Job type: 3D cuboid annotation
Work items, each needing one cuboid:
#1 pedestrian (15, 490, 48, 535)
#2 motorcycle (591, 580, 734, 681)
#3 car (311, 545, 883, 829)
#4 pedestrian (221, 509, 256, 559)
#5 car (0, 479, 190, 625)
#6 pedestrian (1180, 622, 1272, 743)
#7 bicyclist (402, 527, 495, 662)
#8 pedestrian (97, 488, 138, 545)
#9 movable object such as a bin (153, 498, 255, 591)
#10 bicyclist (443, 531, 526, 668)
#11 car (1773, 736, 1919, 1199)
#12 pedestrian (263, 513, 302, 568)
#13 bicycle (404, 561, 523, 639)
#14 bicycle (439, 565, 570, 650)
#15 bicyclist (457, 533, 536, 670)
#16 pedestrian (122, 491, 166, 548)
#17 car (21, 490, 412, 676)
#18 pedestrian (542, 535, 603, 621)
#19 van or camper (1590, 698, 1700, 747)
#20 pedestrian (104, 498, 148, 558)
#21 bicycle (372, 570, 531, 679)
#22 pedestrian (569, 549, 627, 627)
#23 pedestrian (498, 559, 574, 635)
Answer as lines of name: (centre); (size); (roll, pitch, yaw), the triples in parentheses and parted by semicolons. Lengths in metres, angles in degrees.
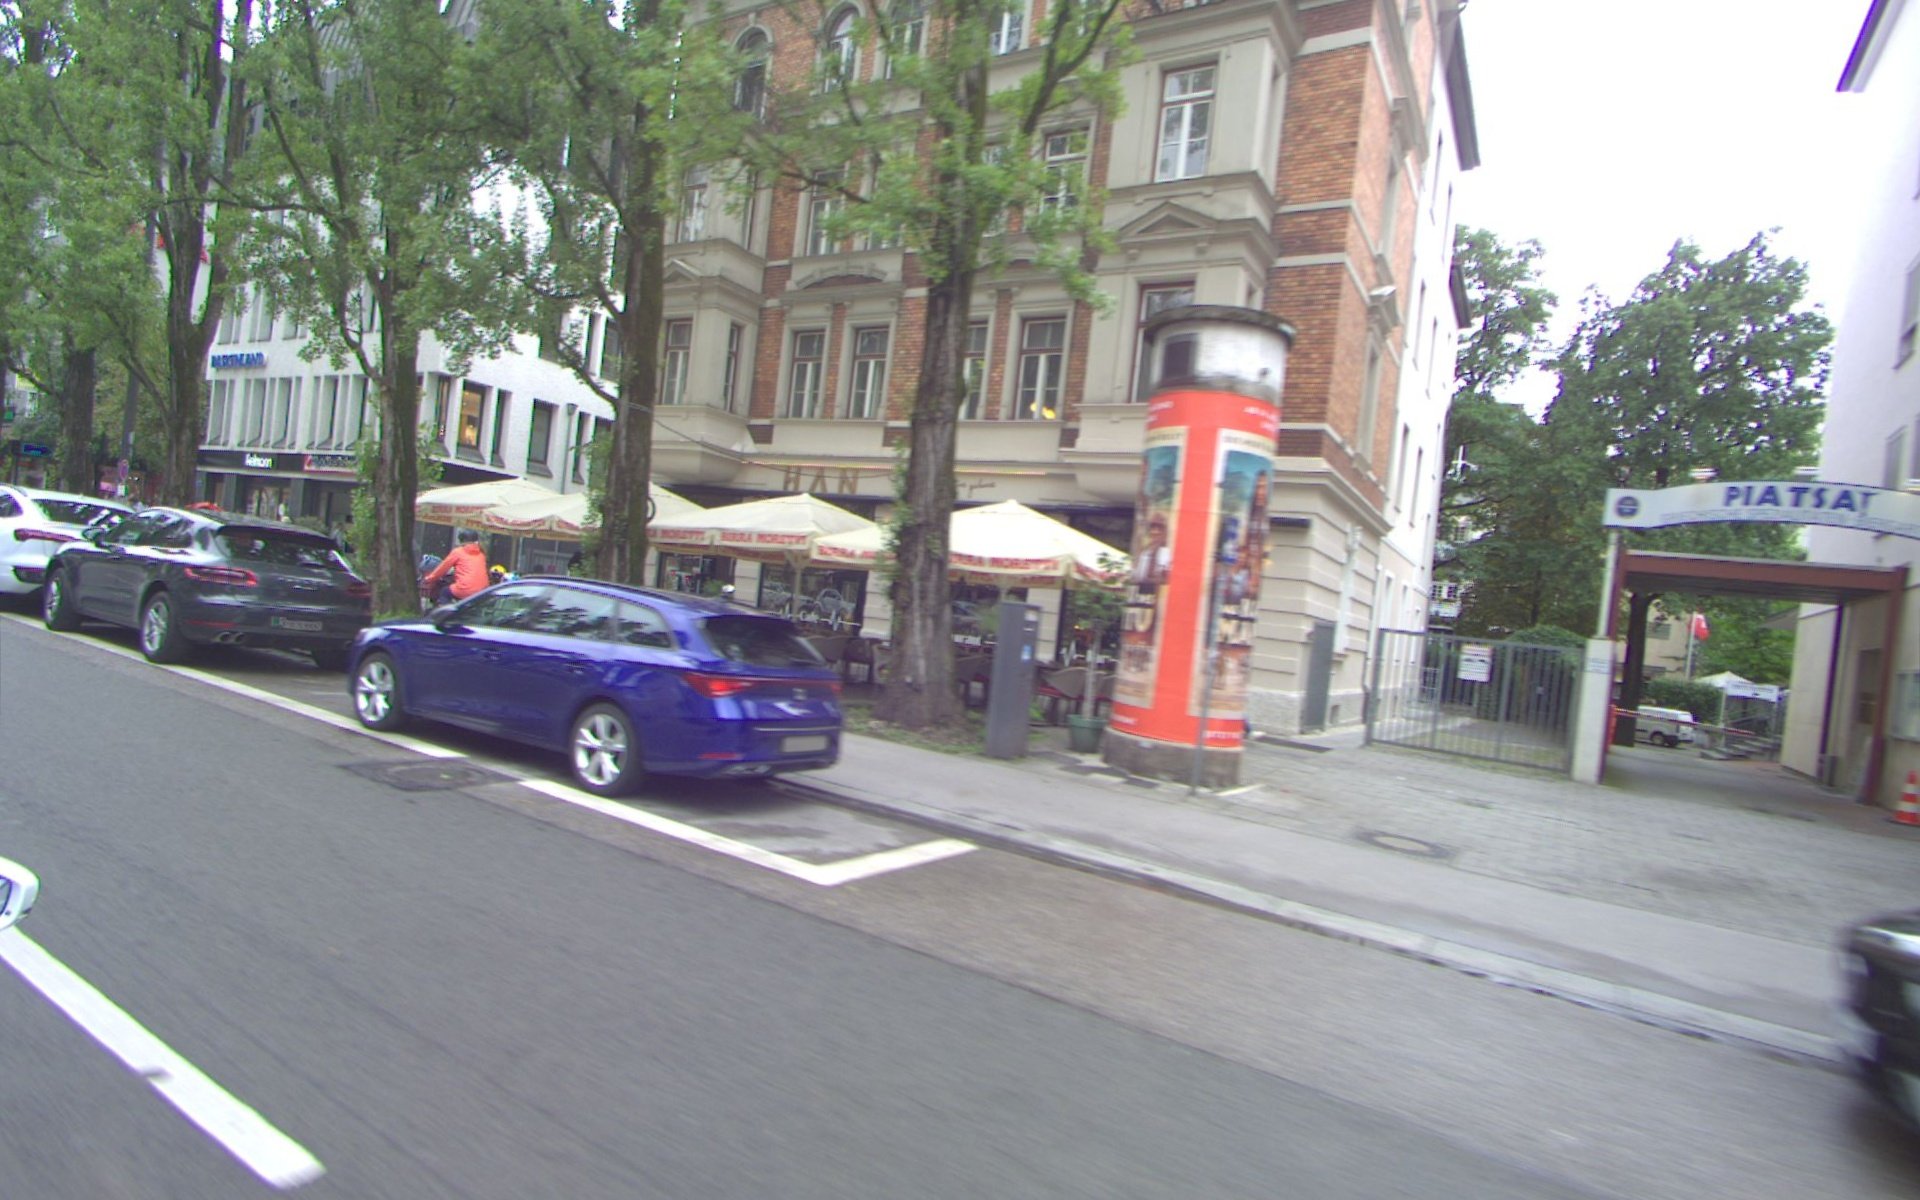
pedestrian: (-39.032, -3.669, 42.282); (0.845, 1.771, 0.654); (7, -1, 32)
motorcycle: (-3.953, 0.433, 13.515); (0.683, 1.194, 1.834); (7, 0, 26)
car: (-2.984, 0.530, 8.013); (4.388, 1.423, 1.752); (7, 0, 29)
pedestrian: (-25.308, -2.306, 35.286); (0.692, 1.647, 0.654); (7, 1, 29)
car: (-13.046, -0.782, 14.136); (4.668, 1.640, 1.831); (7, -1, 31)
pedestrian: (3.943, 1.204, 14.912); (0.974, 1.629, 0.729); (7, 1, 32)
bicyclist: (-6.481, -0.063, 12.756); (0.740, 1.608, 0.622); (7, 1, 31)
pedestrian: (-29.468, -2.917, 35.175); (0.671, 1.835, 0.793); (7, 1, 30)
movable object such as a bin: (-15.910, -1.160, 21.171); (1.559, 1.725, 1.034); (7, 1, 28)
bicyclist: (-5.845, 0.008, 12.372); (0.473, 1.608, 0.622); (7, 1, 31)
car: (5.458, 1.533, 2.696); (4.723, 1.450, 1.881); (7, 0, 30)
pedestrian: (-21.511, -1.882, 31.960); (0.692, 1.647, 0.654); (7, 1, 29)
bicycle: (-8.111, 0.029, 16.521); (0.364, 1.153, 1.834); (7, 0, 26)
bicycle: (-7.254, 0.147, 16.119); (0.566, 1.207, 1.874); (7, 0, 27)
bicyclist: (-5.633, 0.031, 12.242); (0.385, 1.608, 0.622); (7, 1, 31)
pedestrian: (-27.593, -2.706, 34.012); (0.845, 1.771, 0.728); (7, -1, 30)
car: (-8.605, -0.220, 11.563); (4.408, 1.585, 1.996); (7, 0, 31)
pedestrian: (-8.811, -0.505, 22.858); (0.916, 1.825, 0.729); (7, 1, 32)
van or camper: (34.422, 6.124, 50.632); (1.847, 1.771, 4.041); (7, 0, -35)
pedestrian: (-24.427, -2.110, 29.469); (0.693, 1.620, 0.654); (7, -1, 32)
bicycle: (-6.460, 0.290, 12.725); (2.225, 1.100, 0.627); (7, 1, 31)
pedestrian: (-8.450, -0.276, 23.490); (0.916, 1.698, 0.729); (7, 1, 32)
pedestrian: (-7.783, -0.049, 18.484); (0.719, 1.283, 0.929); (7, 1, 30)
